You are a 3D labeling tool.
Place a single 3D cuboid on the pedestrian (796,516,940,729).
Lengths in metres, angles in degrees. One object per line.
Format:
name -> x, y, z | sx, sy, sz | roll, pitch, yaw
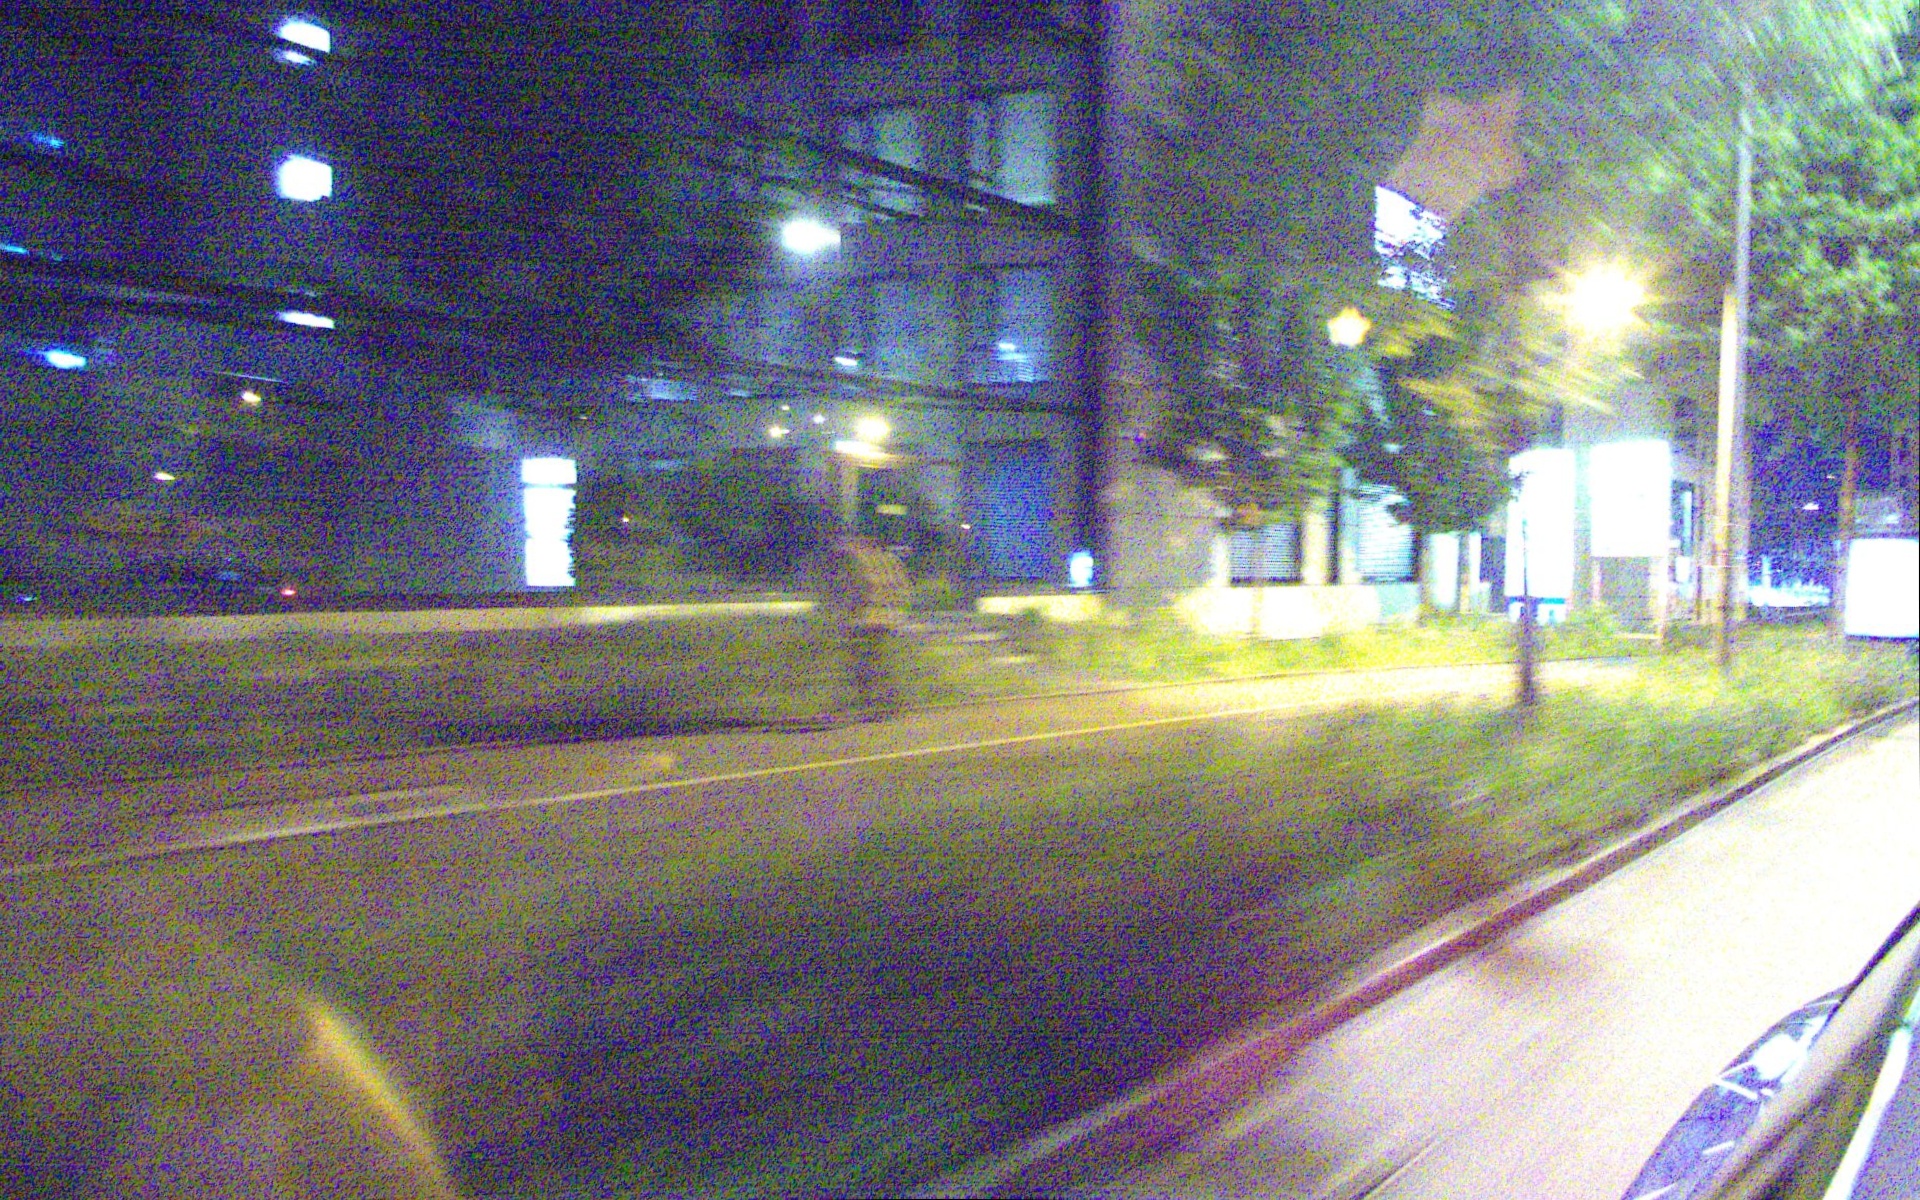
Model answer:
pedestrian -> -0.805, 0.169, 8.840 | 0.940, 1.728, 0.854 | 0, 1, -41
